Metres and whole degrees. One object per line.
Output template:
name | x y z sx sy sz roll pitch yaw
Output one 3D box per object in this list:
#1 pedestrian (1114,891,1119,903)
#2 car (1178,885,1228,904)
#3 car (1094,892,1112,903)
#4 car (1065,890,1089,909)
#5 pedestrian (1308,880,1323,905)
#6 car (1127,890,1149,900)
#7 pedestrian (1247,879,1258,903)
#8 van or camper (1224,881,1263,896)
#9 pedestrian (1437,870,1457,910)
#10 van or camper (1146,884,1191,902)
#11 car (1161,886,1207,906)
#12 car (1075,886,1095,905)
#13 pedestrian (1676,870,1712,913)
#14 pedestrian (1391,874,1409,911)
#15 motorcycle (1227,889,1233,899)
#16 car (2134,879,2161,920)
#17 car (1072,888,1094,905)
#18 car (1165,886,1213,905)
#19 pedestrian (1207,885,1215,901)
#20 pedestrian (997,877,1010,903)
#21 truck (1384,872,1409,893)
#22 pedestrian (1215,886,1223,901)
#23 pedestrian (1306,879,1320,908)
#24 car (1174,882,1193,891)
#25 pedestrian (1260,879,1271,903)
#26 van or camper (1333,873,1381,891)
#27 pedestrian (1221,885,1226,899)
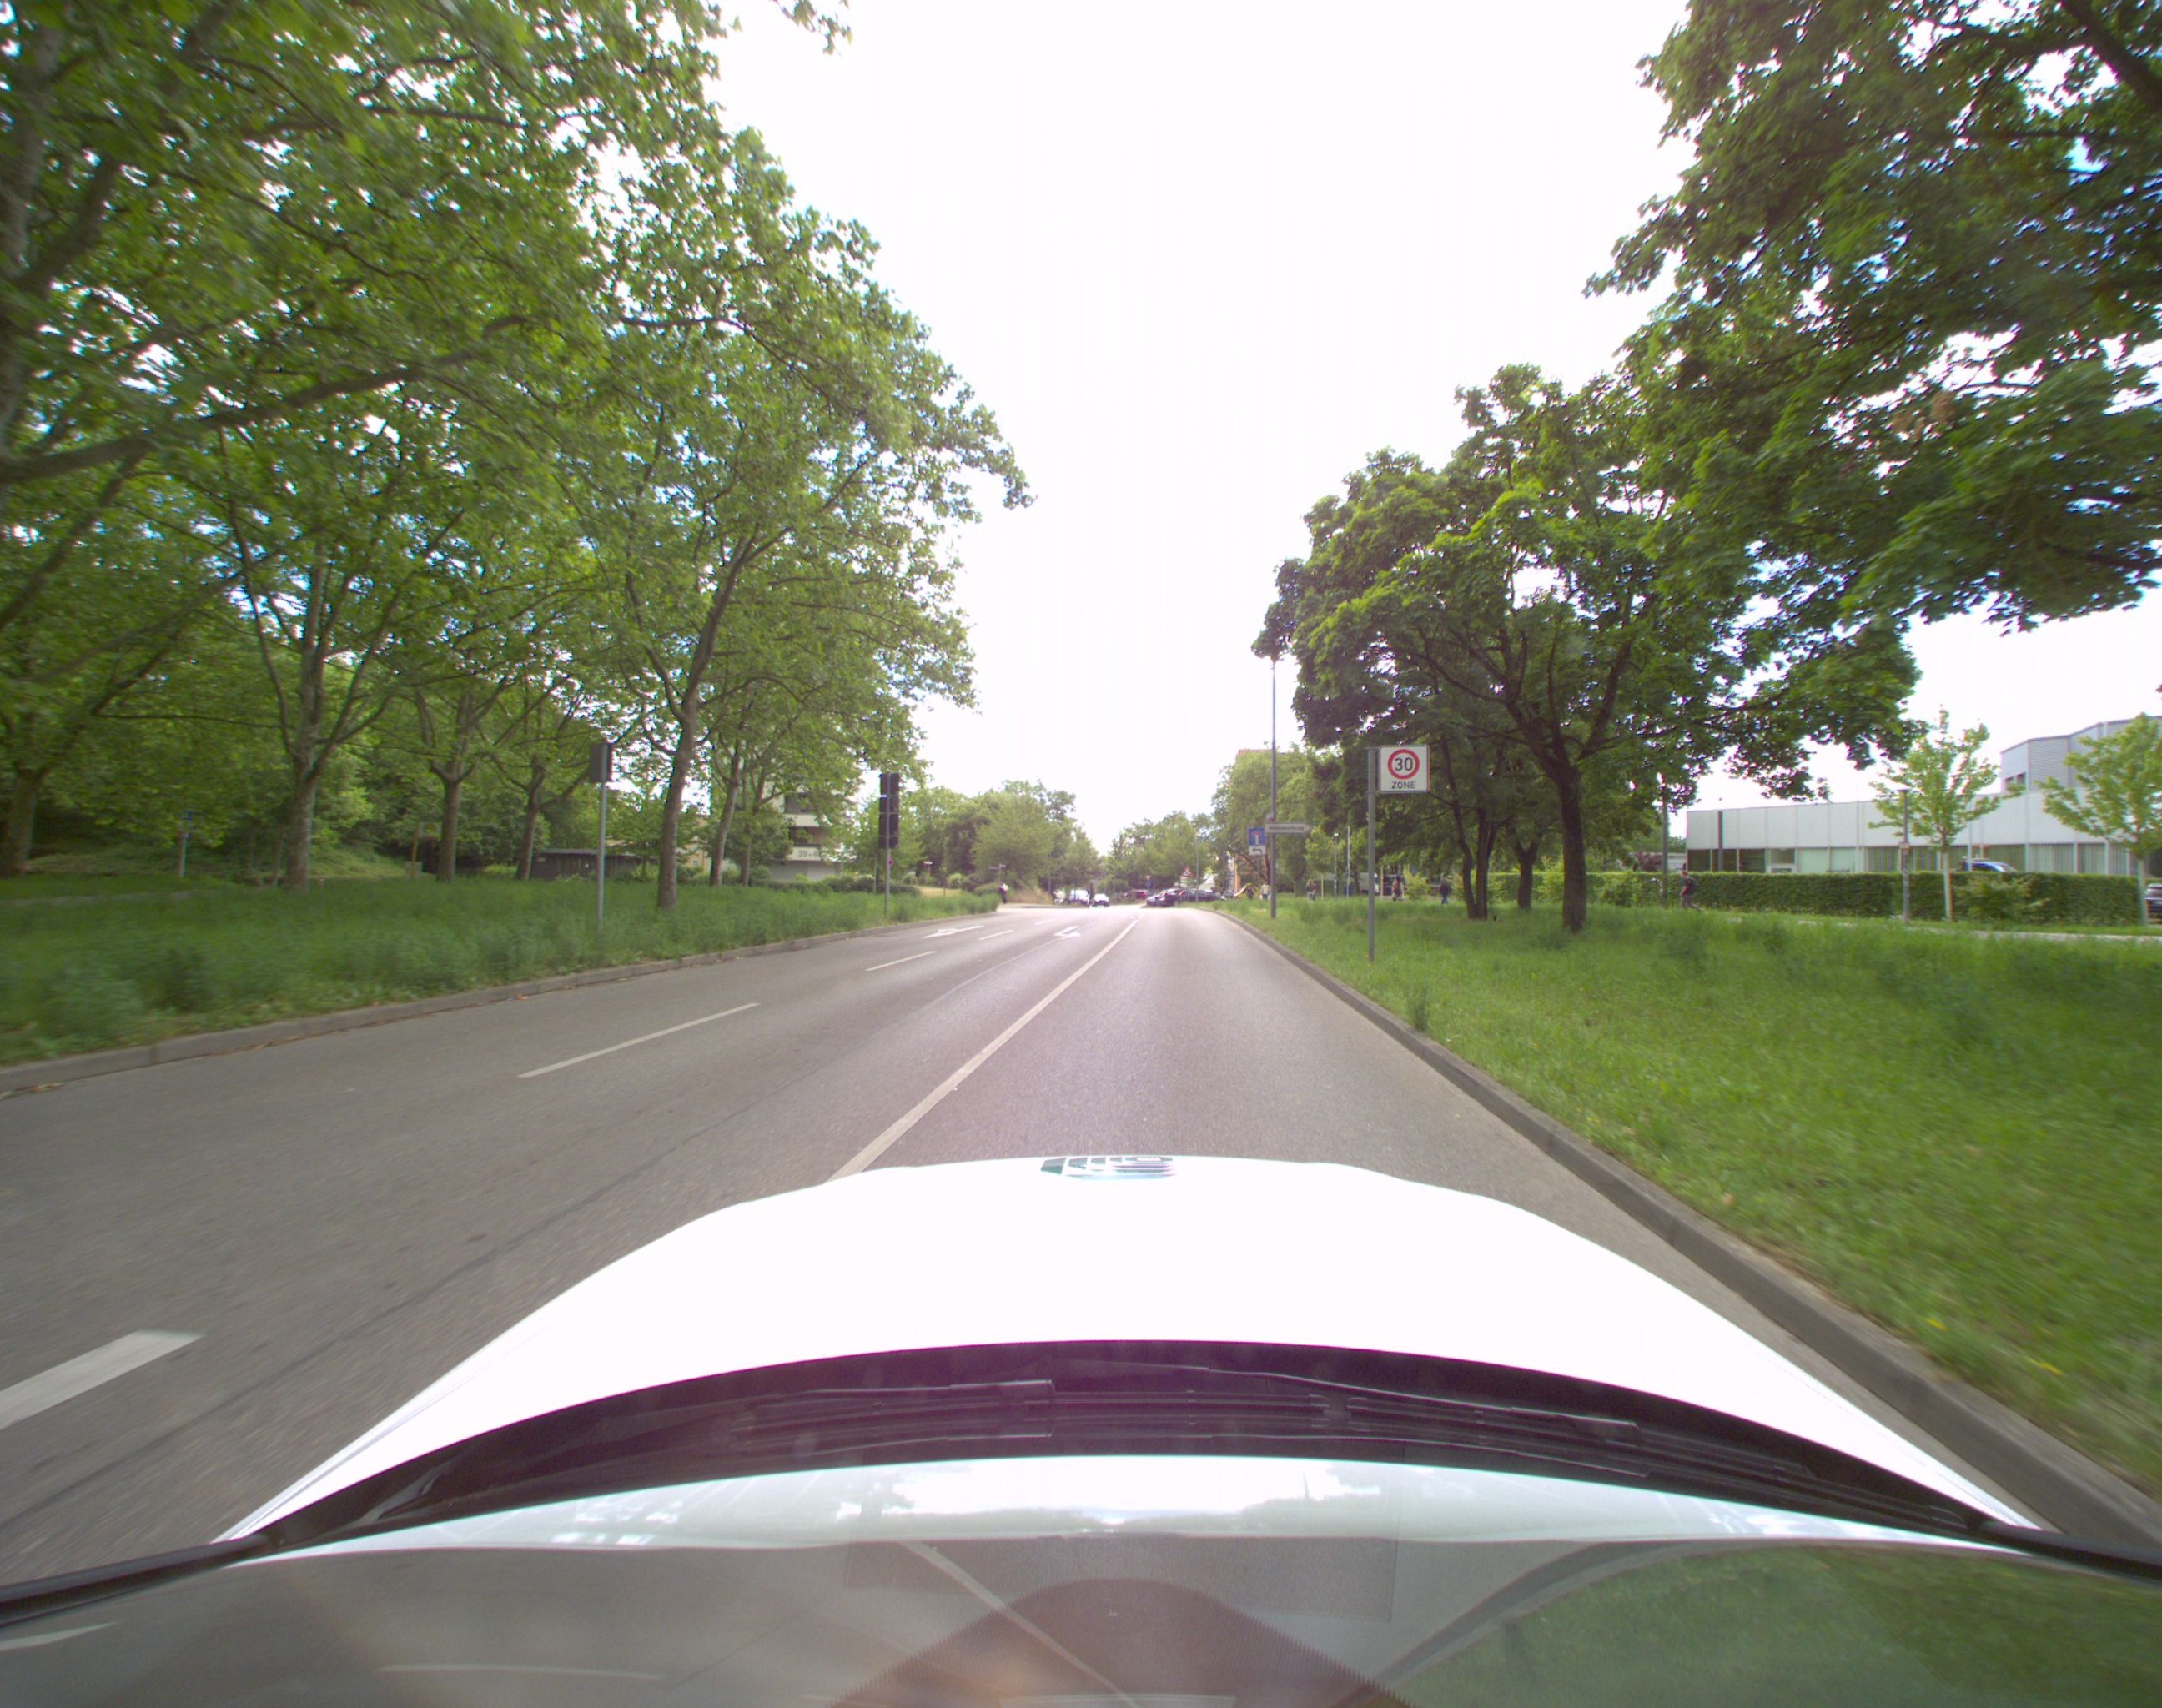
pedestrian | 5.442 6.543 123.716 0.720 1.865 0.649 0 -1 -5
car | 9.758 3.278 65.361 3.902 1.469 1.774 0 -5 6
car | 2.764 5.570 104.927 1.970 1.464 3.928 0 -3 -4
car | -0.284 3.773 68.053 1.758 1.500 3.938 0 -2 3
pedestrian | 16.534 2.722 57.469 0.767 1.695 0.828 0 -1 38
car | 9.311 6.718 133.767 3.530 1.654 1.620 1 -2 -2
pedestrian | 12.906 2.785 61.186 0.769 1.723 0.826 0 -1 14
van or camper | 23.254 4.982 116.919 5.272 2.042 2.061 0 -1 2
pedestrian | 16.178 1.570 35.978 0.767 1.723 0.828 0 -1 27
van or camper | 9.346 4.178 87.127 4.659 1.870 1.770 0 -1 -2
car | 8.897 3.623 70.436 3.902 1.631 1.774 0 -5 6
car | 0.423 3.979 79.005 1.758 1.753 3.937 0 -2 3
pedestrian | 21.363 1.292 28.382 0.836 1.452 0.692 1 -1 -25
pedestrian | 15.252 1.816 38.959 0.767 1.723 0.828 0 -1 25
motorcycle | 13.032 3.493 71.151 0.450 0.794 1.266 0 -1 8
car | 39.489 1.638 29.046 3.104 1.422 1.499 1 -1 -20
car | 0.236 3.817 73.183 1.758 1.501 3.937 0 -2 3
car | 8.981 3.470 67.685 3.902 1.501 1.774 0 -5 6
pedestrian | 12.504 3.784 78.336 0.686 1.504 0.754 1 -3 6
pedestrian | -5.149 2.378 54.228 0.820 1.723 0.775 0 -1 -8
truck | 36.201 3.226 93.324 2.305 2.296 5.928 1 -1 25
pedestrian | 13.298 3.834 78.295 0.686 1.425 0.754 1 -3 6
pedestrian | 13.295 2.264 46.711 0.768 1.596 0.826 0 -1 15
car | 20.436 6.474 162.627 3.544 1.654 1.614 1 -3 -14
pedestrian | 13.655 2.747 60.236 0.796 1.723 0.825 0 -1 10
van or camper | 30.191 3.029 89.060 4.627 1.914 1.783 -1 -1 36
pedestrian | 12.530 3.315 71.442 0.393 1.152 0.486 0 -1 8
